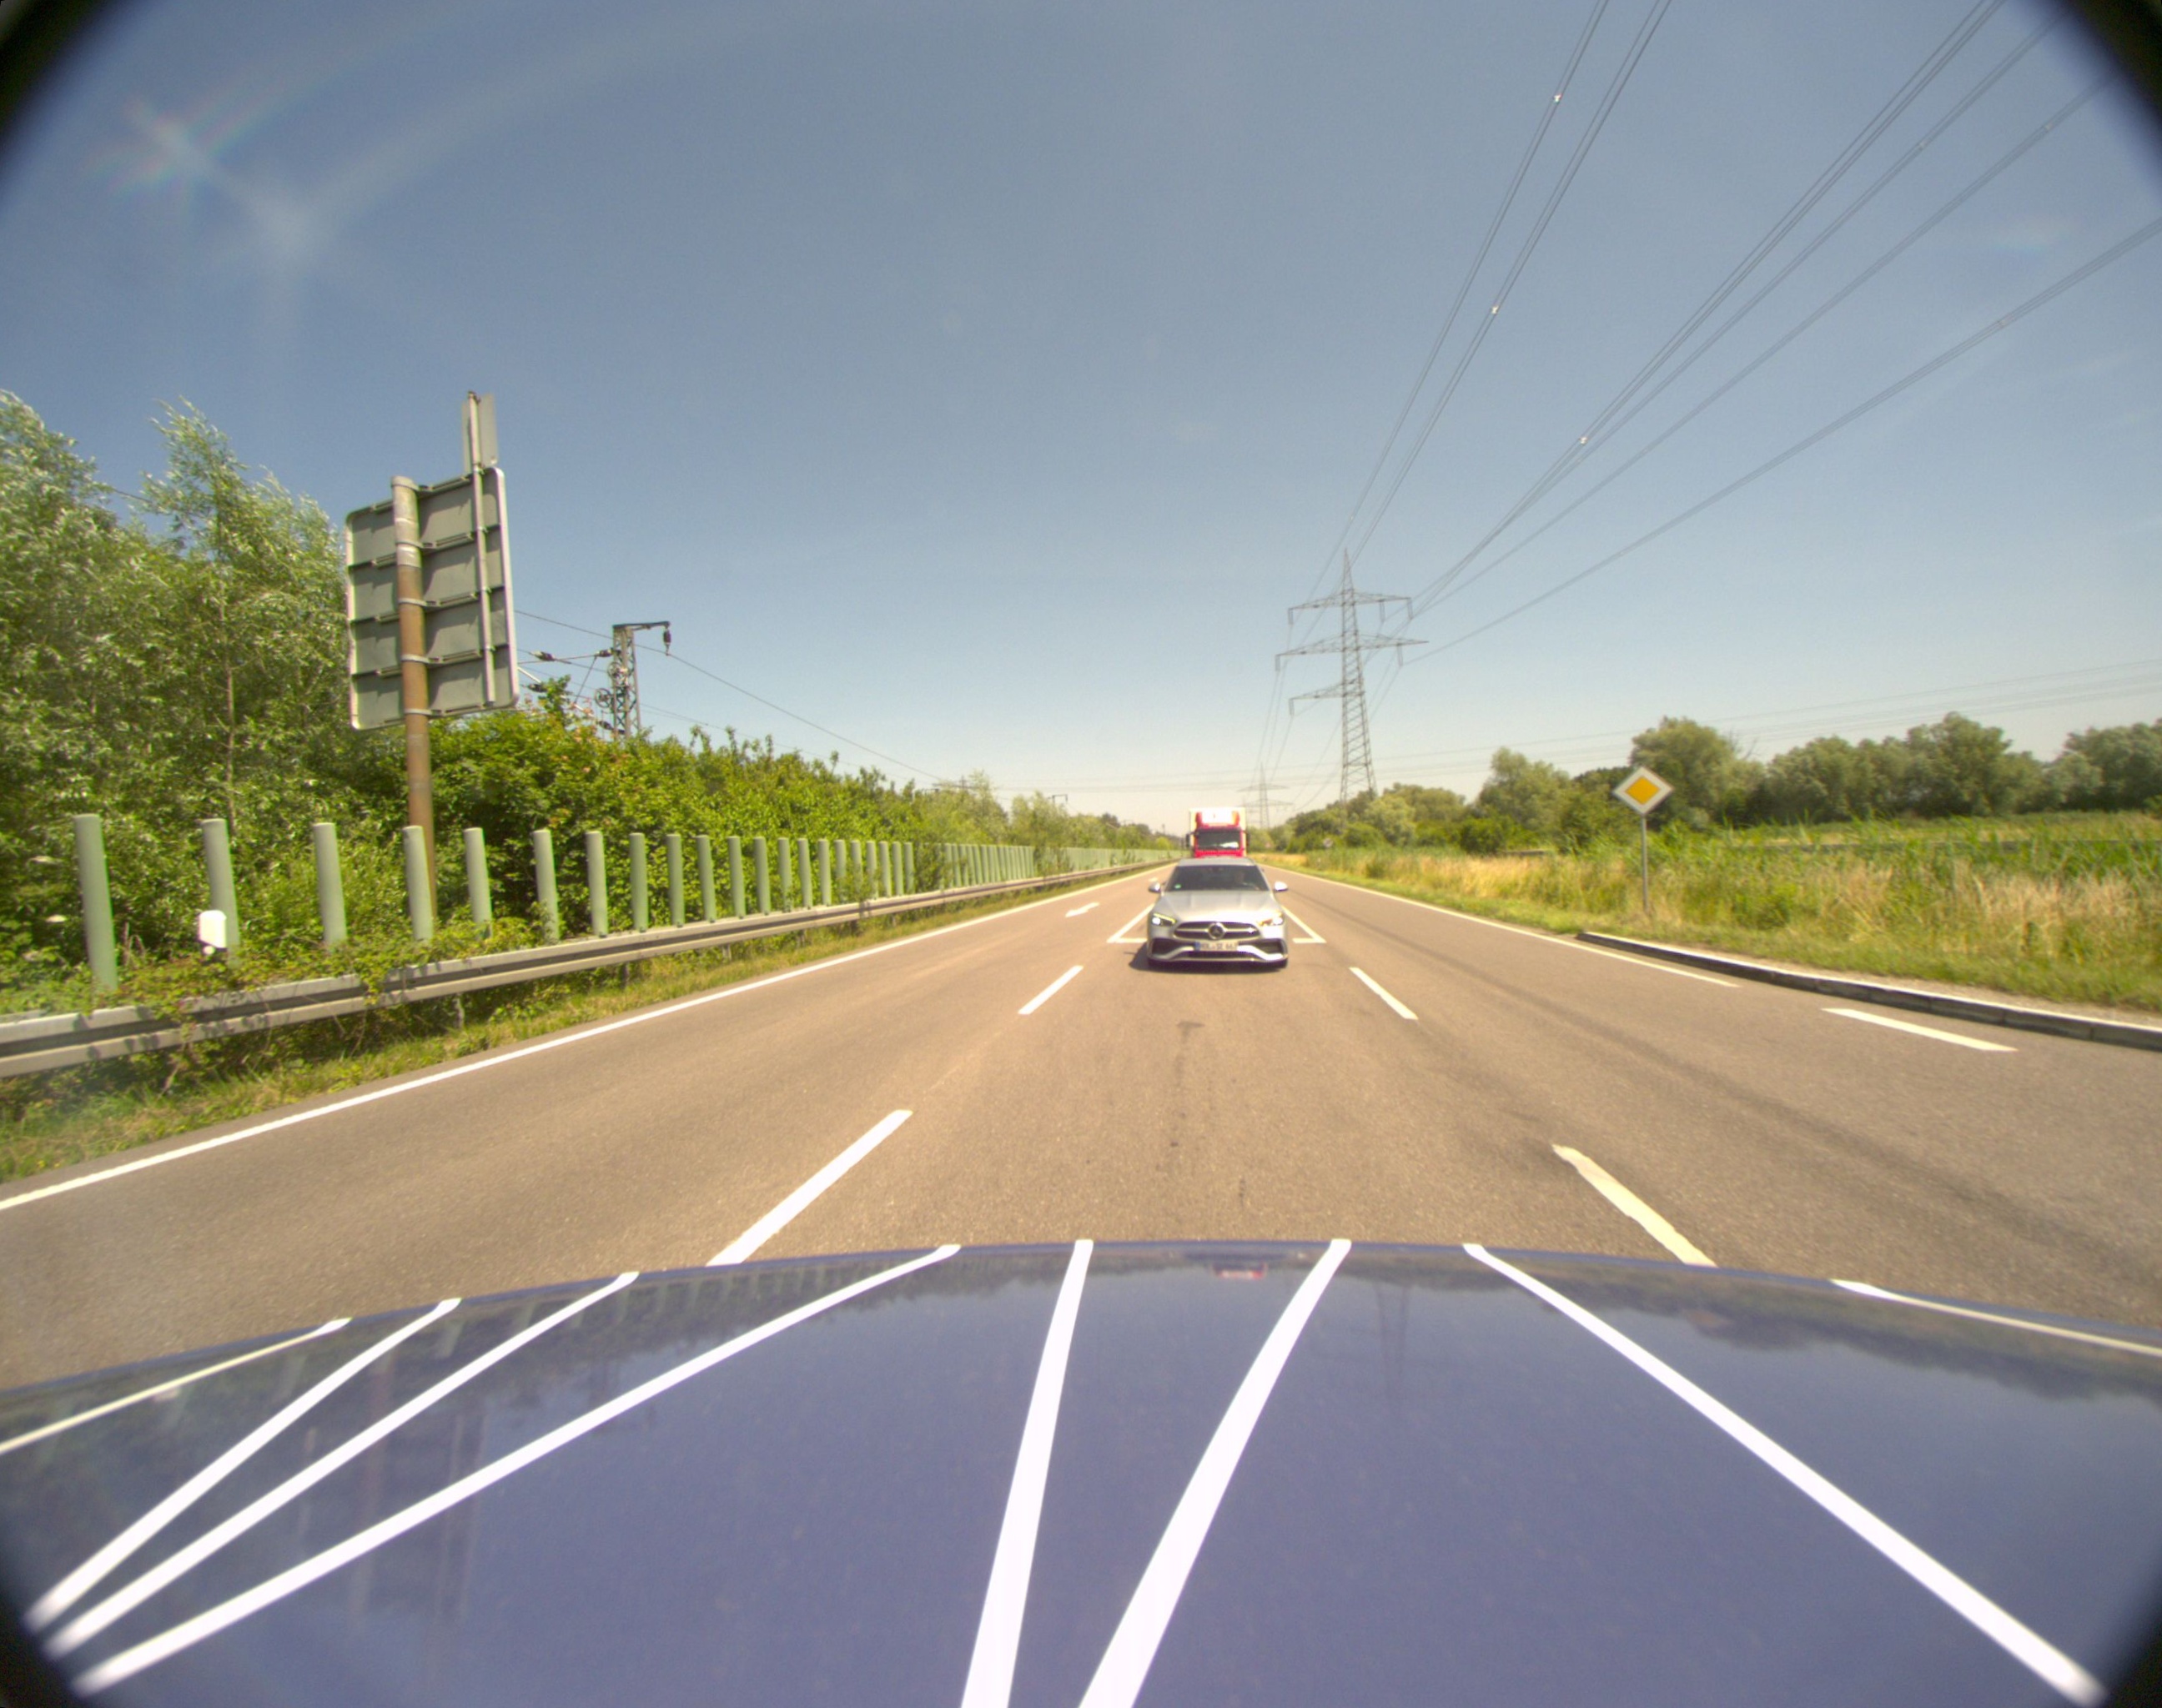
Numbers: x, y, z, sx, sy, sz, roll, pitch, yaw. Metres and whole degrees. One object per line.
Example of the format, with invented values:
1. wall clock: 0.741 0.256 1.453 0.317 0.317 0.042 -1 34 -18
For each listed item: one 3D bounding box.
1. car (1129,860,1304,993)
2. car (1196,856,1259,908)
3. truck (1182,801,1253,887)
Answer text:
1. car: 1.966 0.868 11.088 1.997 1.437 4.470 -1 1 10
2. car: 4.483 0.782 23.223 1.696 1.385 4.471 -1 0 11
3. truck: 6.620 -0.446 37.034 2.905 3.641 7.161 -3 0 10
